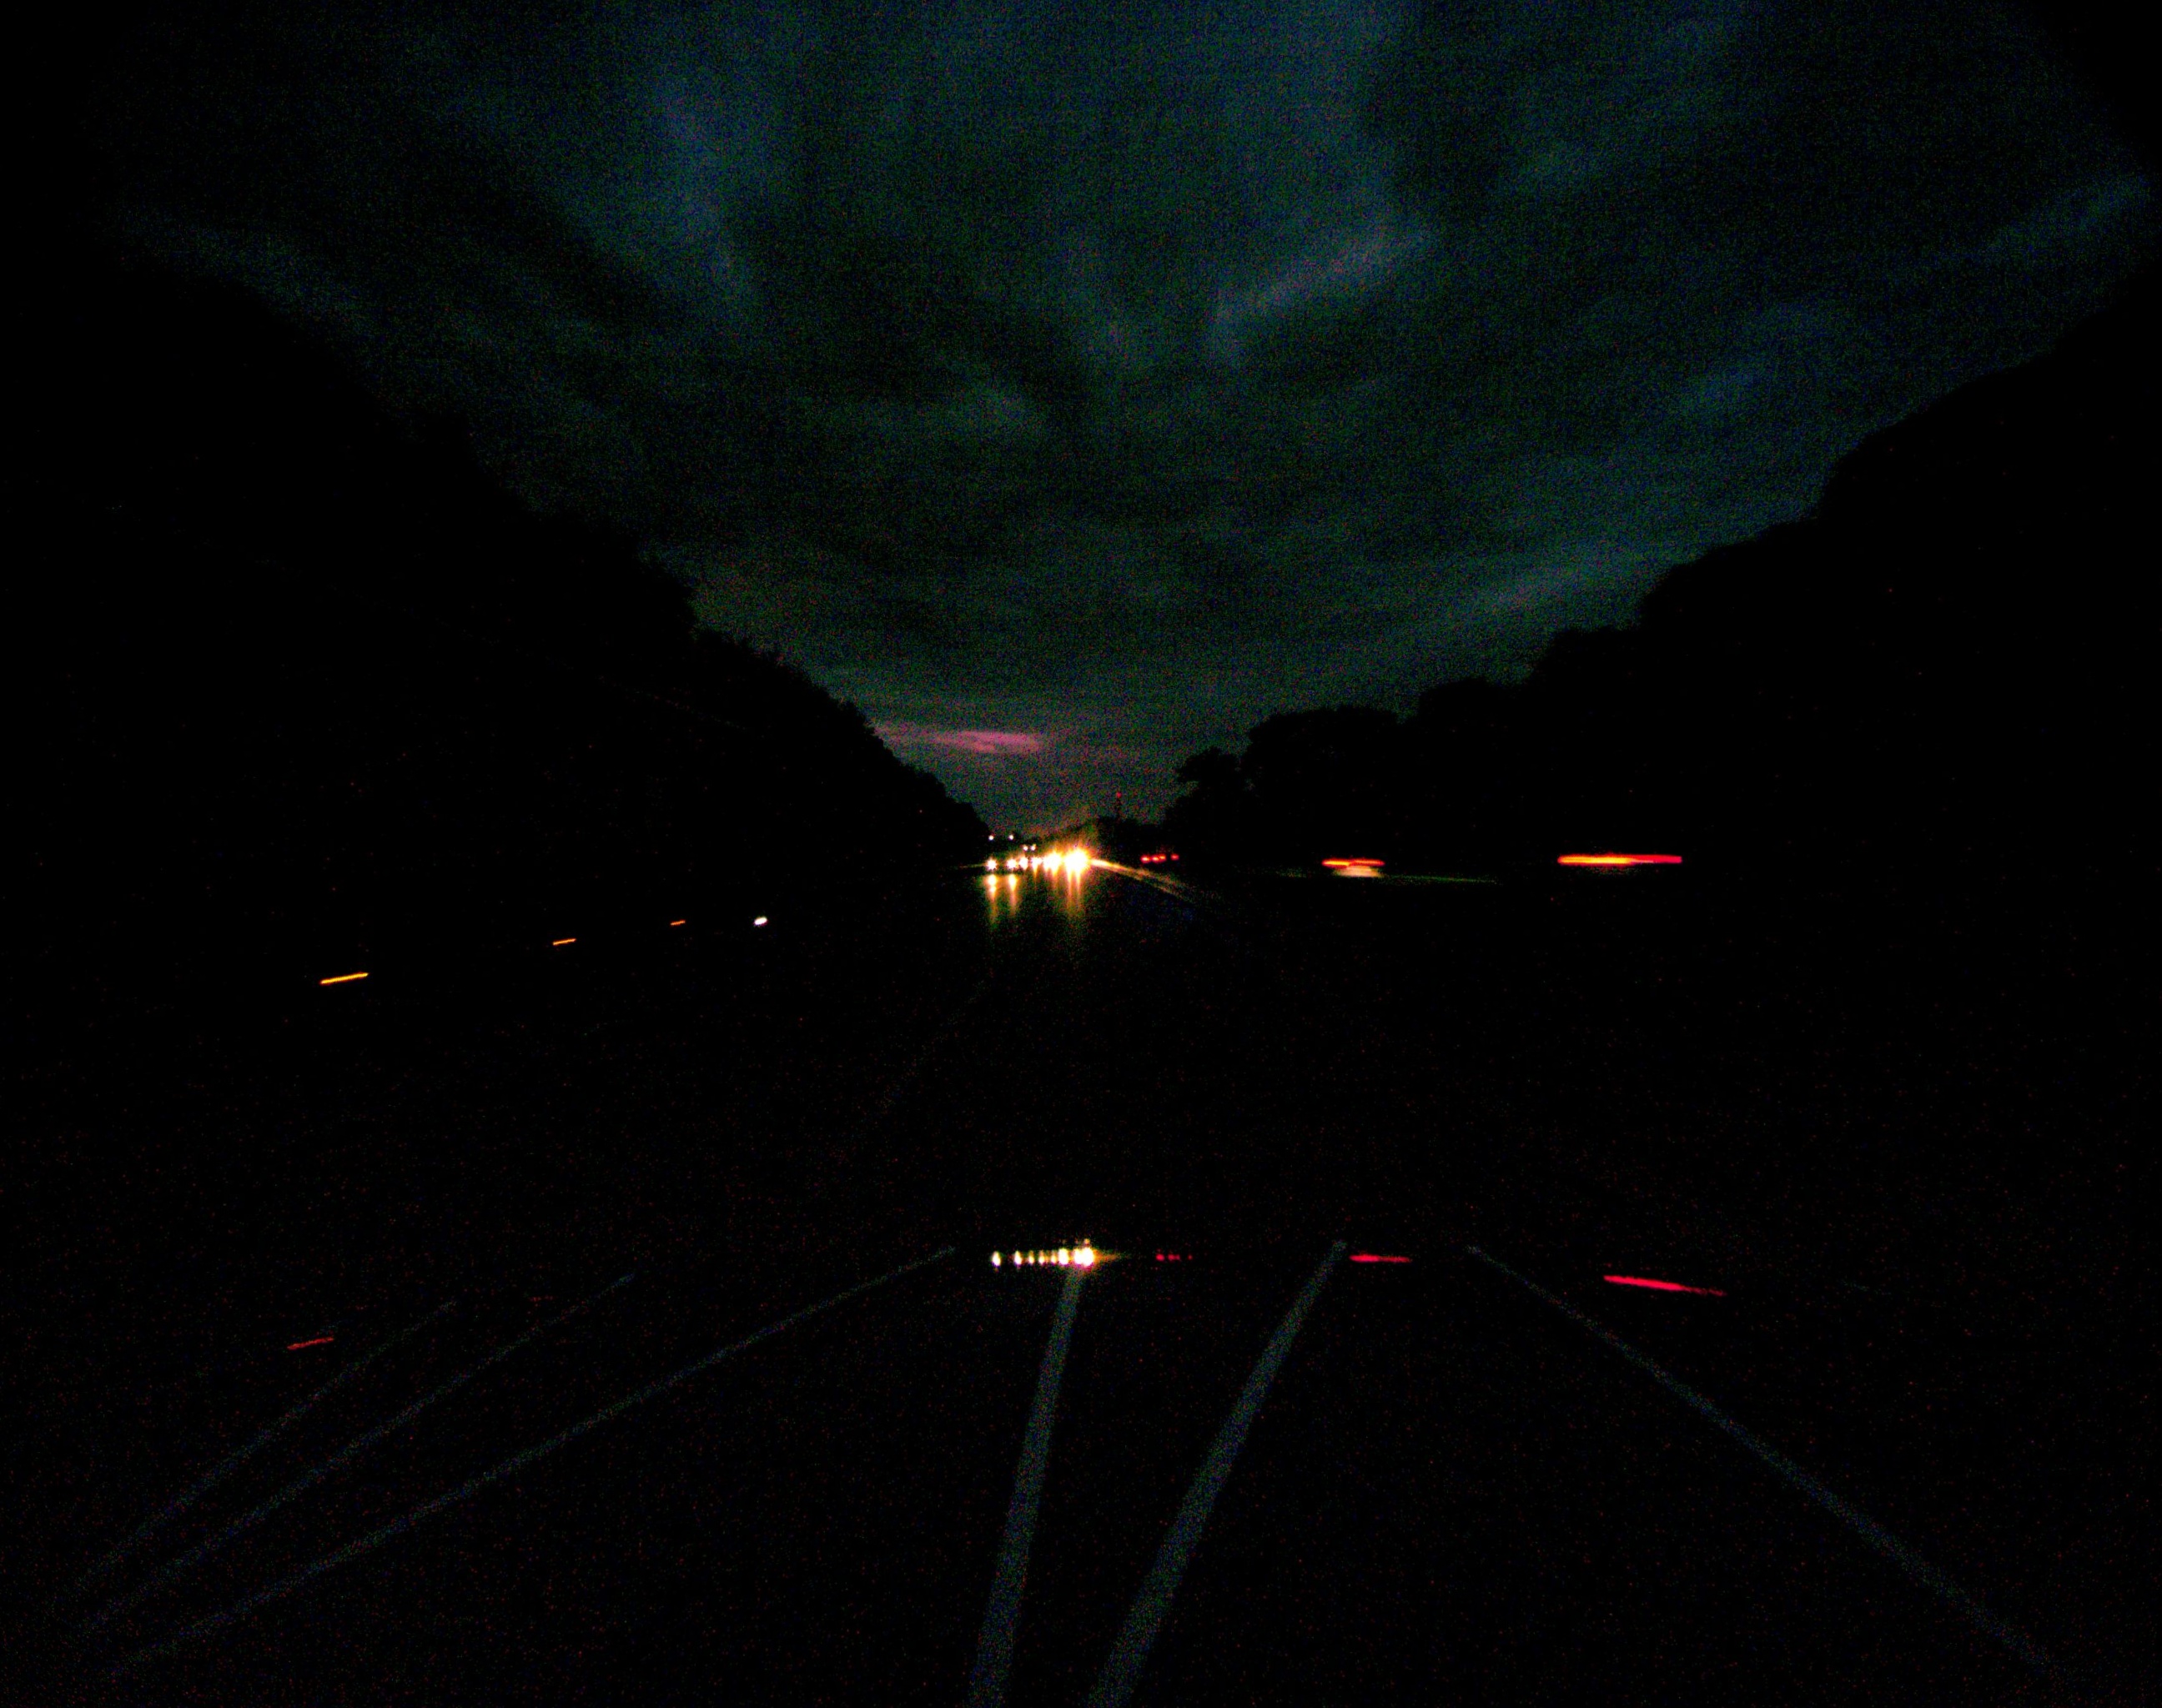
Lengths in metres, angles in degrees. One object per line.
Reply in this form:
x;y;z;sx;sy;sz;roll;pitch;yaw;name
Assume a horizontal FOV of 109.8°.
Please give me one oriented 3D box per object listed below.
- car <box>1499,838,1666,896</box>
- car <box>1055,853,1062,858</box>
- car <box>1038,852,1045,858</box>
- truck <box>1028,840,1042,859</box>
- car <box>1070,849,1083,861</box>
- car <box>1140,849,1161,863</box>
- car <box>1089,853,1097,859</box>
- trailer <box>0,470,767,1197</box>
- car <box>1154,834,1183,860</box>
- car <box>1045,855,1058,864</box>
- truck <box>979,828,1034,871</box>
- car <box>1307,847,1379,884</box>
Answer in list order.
15.545;0.366;23.995;1.891;1.551;5.095;-2;0;0;car
-6.511;0.504;218.723;1.695;1.481;4.950;0;0;2;car
-12.701;0.321;245.016;1.998;1.641;4.001;-2;0;2;car
-9.908;-0.931;164.447;2.539;3.967;9.795;-2;0;-2;truck
-0.715;0.202;122.840;1.870;1.700;4.584;-2;-1;0;car
8.570;0.289;93.985;1.999;1.598;4.660;-2;0;-2;car
3.573;0.581;226.631;1.999;1.607;3.999;-1;0;-3;car
-7.222;-0.097;7.344;2.489;4.049;13.505;-2;0;1;trailer
14.122;-1.046;123.411;3.143;3.945;8.602;-2;0;-3;car
-5.570;1.031;143.712;1.923;1.706;4.944;-2;0;2;car
-7.308;-0.424;77.165;3.340;3.944;13.540;-2;0;3;truck
11.860;0.517;34.736;1.824;1.547;4.336;-1;0;1;car
